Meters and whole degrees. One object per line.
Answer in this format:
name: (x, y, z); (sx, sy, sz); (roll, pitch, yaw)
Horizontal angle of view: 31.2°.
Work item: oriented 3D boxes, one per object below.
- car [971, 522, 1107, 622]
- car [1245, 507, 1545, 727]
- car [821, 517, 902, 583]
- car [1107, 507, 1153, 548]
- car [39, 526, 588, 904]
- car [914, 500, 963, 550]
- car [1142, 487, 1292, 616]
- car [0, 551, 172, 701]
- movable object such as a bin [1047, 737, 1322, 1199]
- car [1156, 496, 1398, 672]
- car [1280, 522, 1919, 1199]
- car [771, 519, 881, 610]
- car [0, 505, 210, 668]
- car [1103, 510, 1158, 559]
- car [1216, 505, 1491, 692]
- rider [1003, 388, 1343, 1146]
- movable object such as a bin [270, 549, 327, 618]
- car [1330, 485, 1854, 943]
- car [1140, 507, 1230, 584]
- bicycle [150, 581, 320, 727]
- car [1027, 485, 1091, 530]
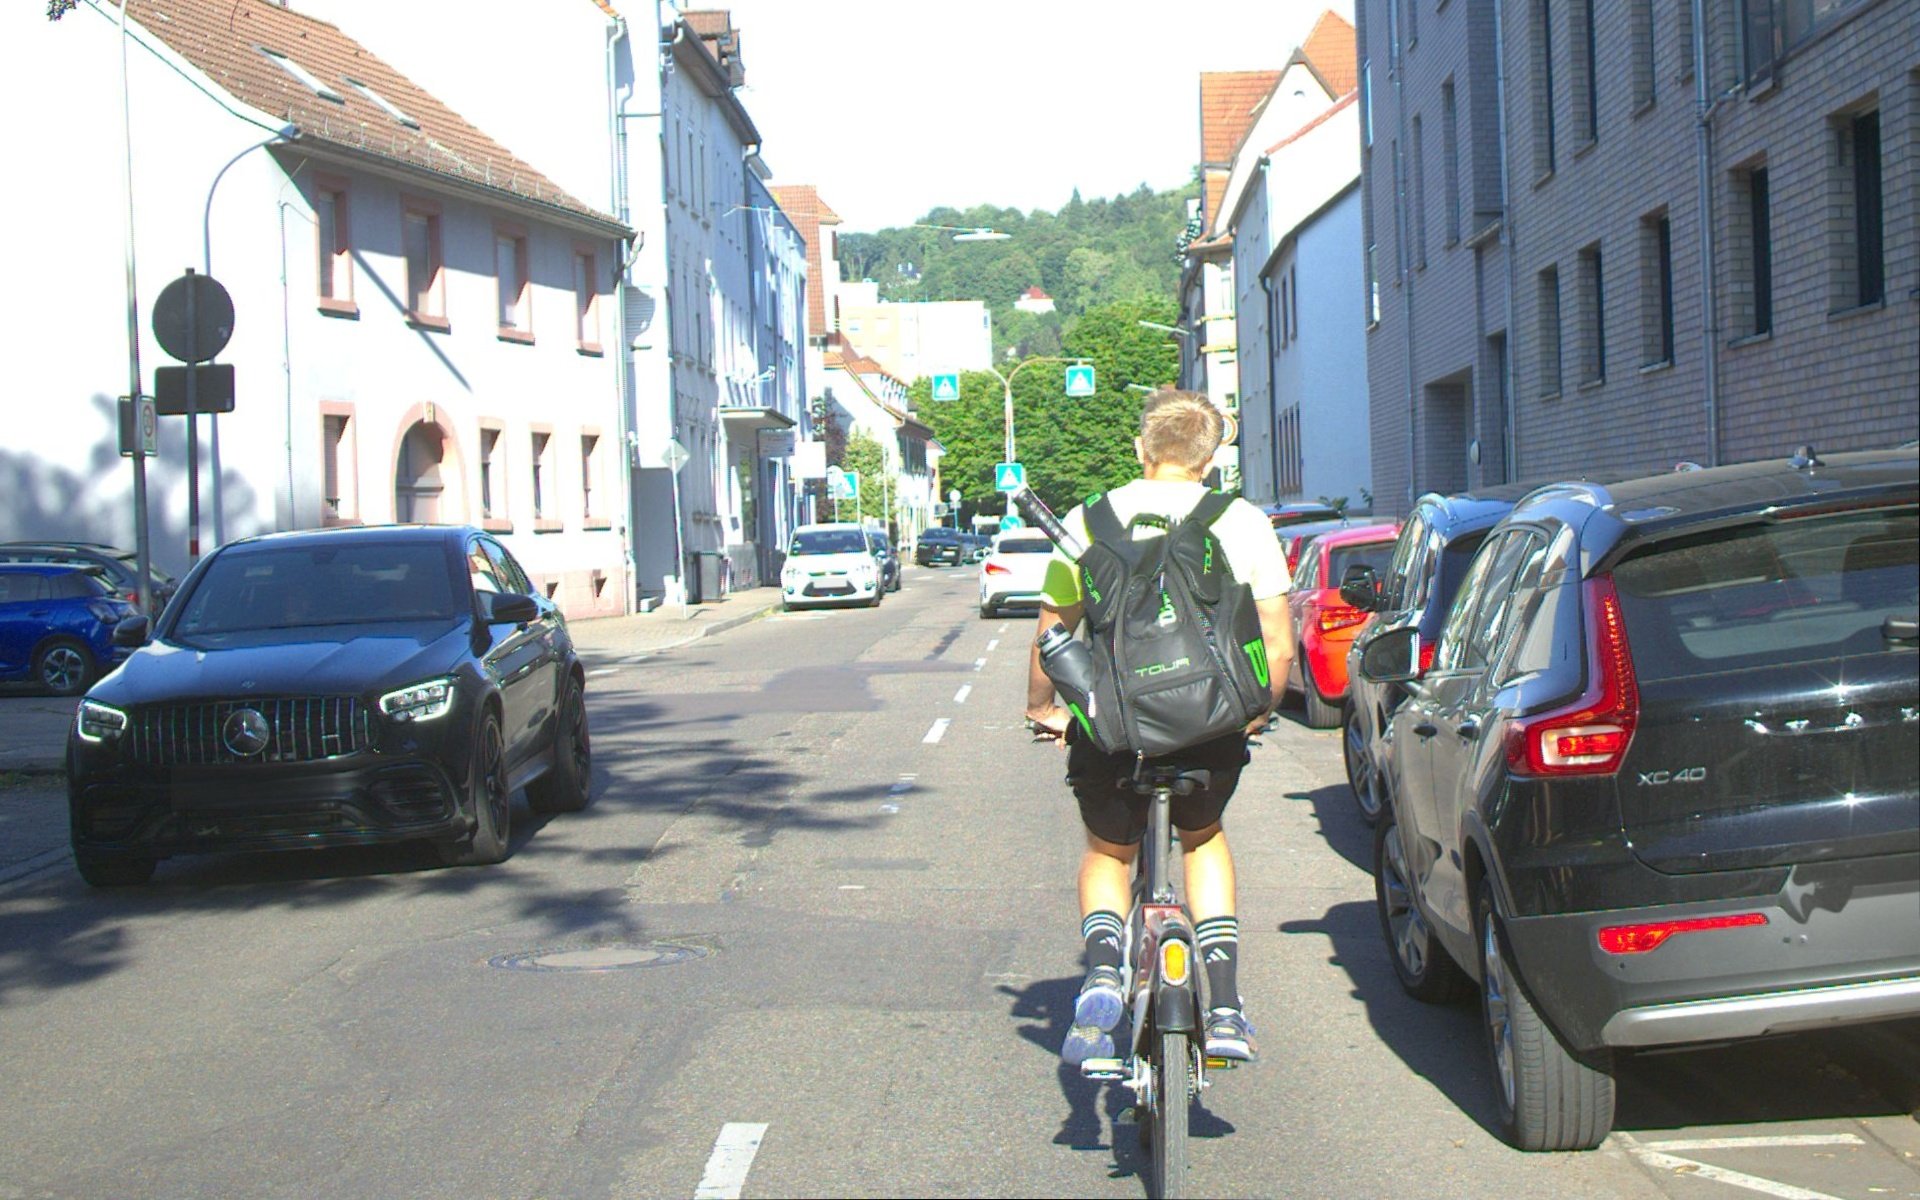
car: (1.211, -0.471, 54.474); (1.993, 1.461, 4.000); (-2, 1, 0)
car: (3.239, 0.068, 26.302); (1.712, 1.399, 4.073); (-5, 1, 1)
car: (-2.361, -1.207, 83.278); (1.731, 1.494, 3.959); (-2, 1, 1)
car: (7.362, -3.132, 148.657); (1.818, 1.625, 4.000); (-3, 2, 4)
car: (-3.036, 0.457, 17.064); (1.939, 1.570, 4.319); (-2, 1, -1)
car: (-0.878, -3.145, 143.086); (1.993, 2.007, 4.000); (-1, 1, 0)
car: (3.629, -0.734, 49.231); (1.855, 1.630, 4.623); (-4, 2, 2)
car: (-10.969, 0.328, 38.372); (3.768, 1.524, 2.000); (-3, 2, 2)
movable object such as a bin: (0.461, 0.859, 7.608); (0.454, 1.029, 1.840); (1, 0, 0)
car: (3.270, -0.231, 36.332); (1.993, 1.647, 4.763); (-2, 2, -1)
car: (2.050, 0.543, 9.679); (1.816, 1.461, 4.270); (-2, 1, 0)
car: (-2.554, -0.724, 66.738); (1.993, 1.642, 5.222); (-1, 2, -1)
car: (-11.613, -0.217, 42.088); (4.363, 1.788, 1.988); (2, 4, 3)
car: (6.787, -2.630, 137.317); (2.011, 1.846, 4.000); (-1, 2, 1)
car: (3.490, -0.071, 31.217); (1.993, 1.500, 4.367); (-2, 2, 1)
rider: (0.448, 0.346, 7.660); (0.653, 1.556, 1.083); (1, 0, 0)
movable object such as a bin: (-8.574, -0.219, 44.577); (0.598, 0.869, 0.606); (-2, 1, 0)
car: (2.691, 0.368, 15.652); (1.890, 1.706, 4.773); (-2, 2, 5)
car: (4.724, -1.173, 72.595); (1.741, 1.487, 4.439); (-3, 1, 3)
bicycle: (-5.388, 0.383, 25.648); (0.704, 0.999, 1.941); (-1, 1, 5)
car: (3.390, -3.184, 118.413); (1.993, 1.461, 4.000); (-2, 1, 0)
